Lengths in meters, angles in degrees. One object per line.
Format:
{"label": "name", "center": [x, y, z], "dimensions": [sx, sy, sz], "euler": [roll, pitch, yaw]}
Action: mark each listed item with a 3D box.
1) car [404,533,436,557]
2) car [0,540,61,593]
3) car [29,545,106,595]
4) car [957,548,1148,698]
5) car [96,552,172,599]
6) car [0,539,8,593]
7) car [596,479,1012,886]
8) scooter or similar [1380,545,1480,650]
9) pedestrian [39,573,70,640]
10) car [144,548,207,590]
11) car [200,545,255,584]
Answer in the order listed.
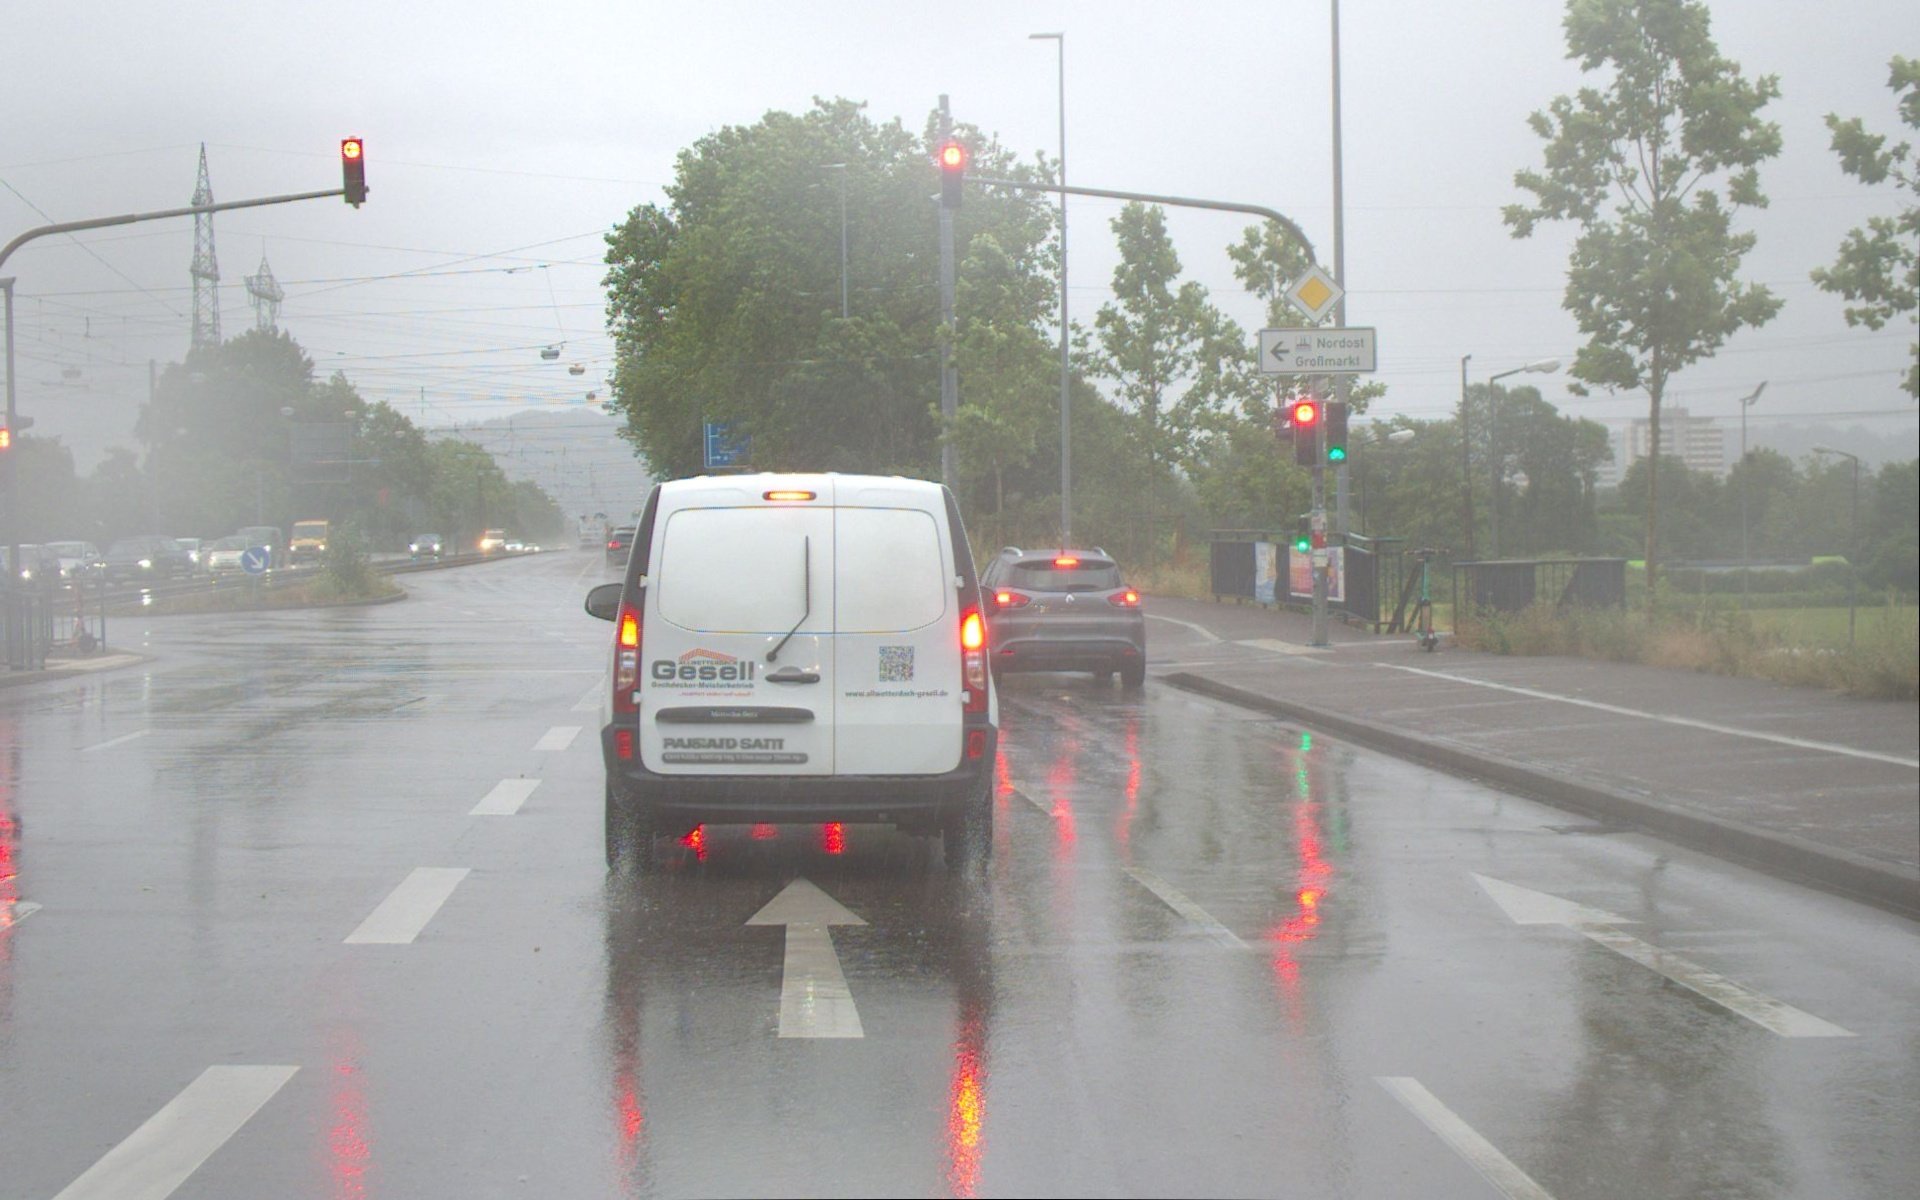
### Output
{"label": "car", "center": [-33.971, -3.445, 216.271], "dimensions": [1.559, 1.421, 3.569], "euler": [2, 0, -3]}
{"label": "car", "center": [-26.761, -0.941, 97.800], "dimensions": [1.559, 1.421, 3.569], "euler": [2, 0, -3]}
{"label": "car", "center": [-27.050, -0.892, 104.282], "dimensions": [1.559, 1.421, 3.569], "euler": [2, 0, -3]}
{"label": "car", "center": [0.944, 0.215, 37.092], "dimensions": [1.684, 1.503, 3.921], "euler": [1, 1, -4]}
{"label": "car", "center": [-26.788, -0.775, 111.615], "dimensions": [1.710, 1.421, 3.809], "euler": [2, 0, -3]}
{"label": "car", "center": [-26.327, -0.933, 90.730], "dimensions": [1.559, 1.421, 3.569], "euler": [2, 0, -3]}
{"label": "car", "center": [-0.886, 0.301, 16.873], "dimensions": [1.754, 1.744, 4.170], "euler": [0, 1, -6]}
{"label": "scooter or similar", "center": [5.653, -0.053, 41.537], "dimensions": [0.690, 1.207, 3.020], "euler": [-1, 1, -2]}
{"label": "pedestrian", "center": [-12.243, 0.083, 46.484], "dimensions": [0.315, 0.894, 0.380], "euler": [2, 1, -5]}
{"label": "car", "center": [-27.784, -1.092, 121.872], "dimensions": [1.559, 1.421, 3.569], "euler": [2, 0, -3]}
{"label": "car", "center": [-28.975, -1.393, 136.087], "dimensions": [1.559, 1.421, 3.569], "euler": [2, 0, -3]}
